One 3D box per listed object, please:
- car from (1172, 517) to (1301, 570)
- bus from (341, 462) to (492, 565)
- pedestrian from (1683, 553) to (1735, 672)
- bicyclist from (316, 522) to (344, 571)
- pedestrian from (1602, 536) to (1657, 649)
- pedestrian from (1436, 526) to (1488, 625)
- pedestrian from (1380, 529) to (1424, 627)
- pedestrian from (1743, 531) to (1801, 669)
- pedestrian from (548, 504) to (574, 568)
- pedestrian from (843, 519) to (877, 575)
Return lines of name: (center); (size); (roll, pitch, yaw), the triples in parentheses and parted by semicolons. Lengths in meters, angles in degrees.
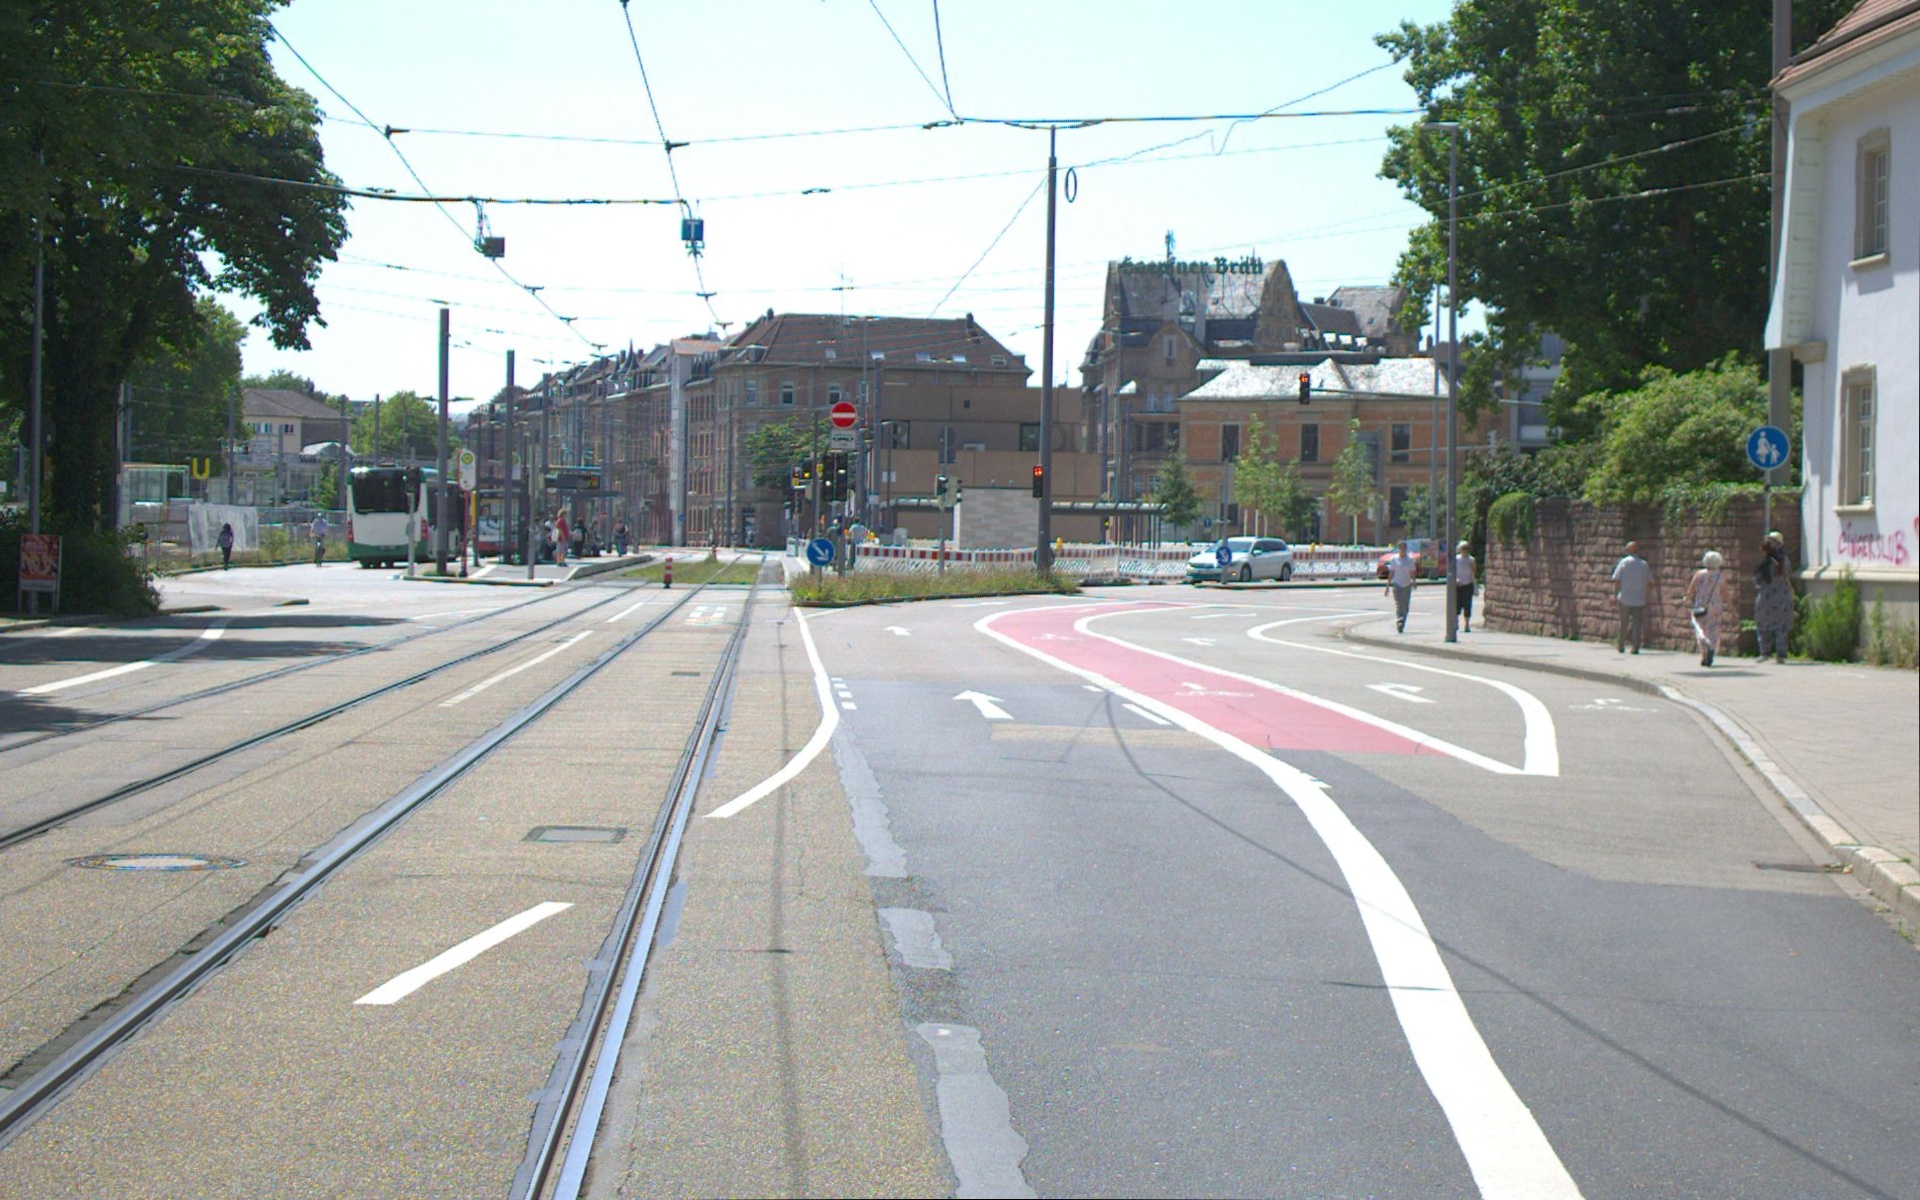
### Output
car: (8.491, -1.729, 105.278); (1.997, 1.433, 4.697); (2, 0, 31)
bus: (-18.249, -2.903, 116.682); (3.010, 3.147, 17.500); (1, 1, -2)
pedestrian: (9.756, 0.157, 44.787); (0.515, 1.527, 0.597); (2, 1, 2)
bicyclist: (-22.030, -1.870, 120.239); (0.820, 1.704, 0.770); (2, 1, -4)
pedestrian: (9.851, -0.115, 50.611); (0.660, 1.641, 0.624); (2, 1, 2)
pedestrian: (9.313, -0.461, 63.820); (0.814, 1.802, 0.700); (2, 1, 1)
pedestrian: (8.222, -0.415, 63.916); (0.677, 1.802, 0.748); (2, 1, 1)
pedestrian: (10.670, -0.007, 45.197); (0.627, 1.767, 0.718); (-2, 2, 8)
pedestrian: (-12.160, -1.955, 104.886); (0.672, 1.903, 0.641); (2, 1, -12)
pedestrian: (-3.357, -1.772, 114.987); (0.765, 1.858, 0.730); (3, 0, -44)
